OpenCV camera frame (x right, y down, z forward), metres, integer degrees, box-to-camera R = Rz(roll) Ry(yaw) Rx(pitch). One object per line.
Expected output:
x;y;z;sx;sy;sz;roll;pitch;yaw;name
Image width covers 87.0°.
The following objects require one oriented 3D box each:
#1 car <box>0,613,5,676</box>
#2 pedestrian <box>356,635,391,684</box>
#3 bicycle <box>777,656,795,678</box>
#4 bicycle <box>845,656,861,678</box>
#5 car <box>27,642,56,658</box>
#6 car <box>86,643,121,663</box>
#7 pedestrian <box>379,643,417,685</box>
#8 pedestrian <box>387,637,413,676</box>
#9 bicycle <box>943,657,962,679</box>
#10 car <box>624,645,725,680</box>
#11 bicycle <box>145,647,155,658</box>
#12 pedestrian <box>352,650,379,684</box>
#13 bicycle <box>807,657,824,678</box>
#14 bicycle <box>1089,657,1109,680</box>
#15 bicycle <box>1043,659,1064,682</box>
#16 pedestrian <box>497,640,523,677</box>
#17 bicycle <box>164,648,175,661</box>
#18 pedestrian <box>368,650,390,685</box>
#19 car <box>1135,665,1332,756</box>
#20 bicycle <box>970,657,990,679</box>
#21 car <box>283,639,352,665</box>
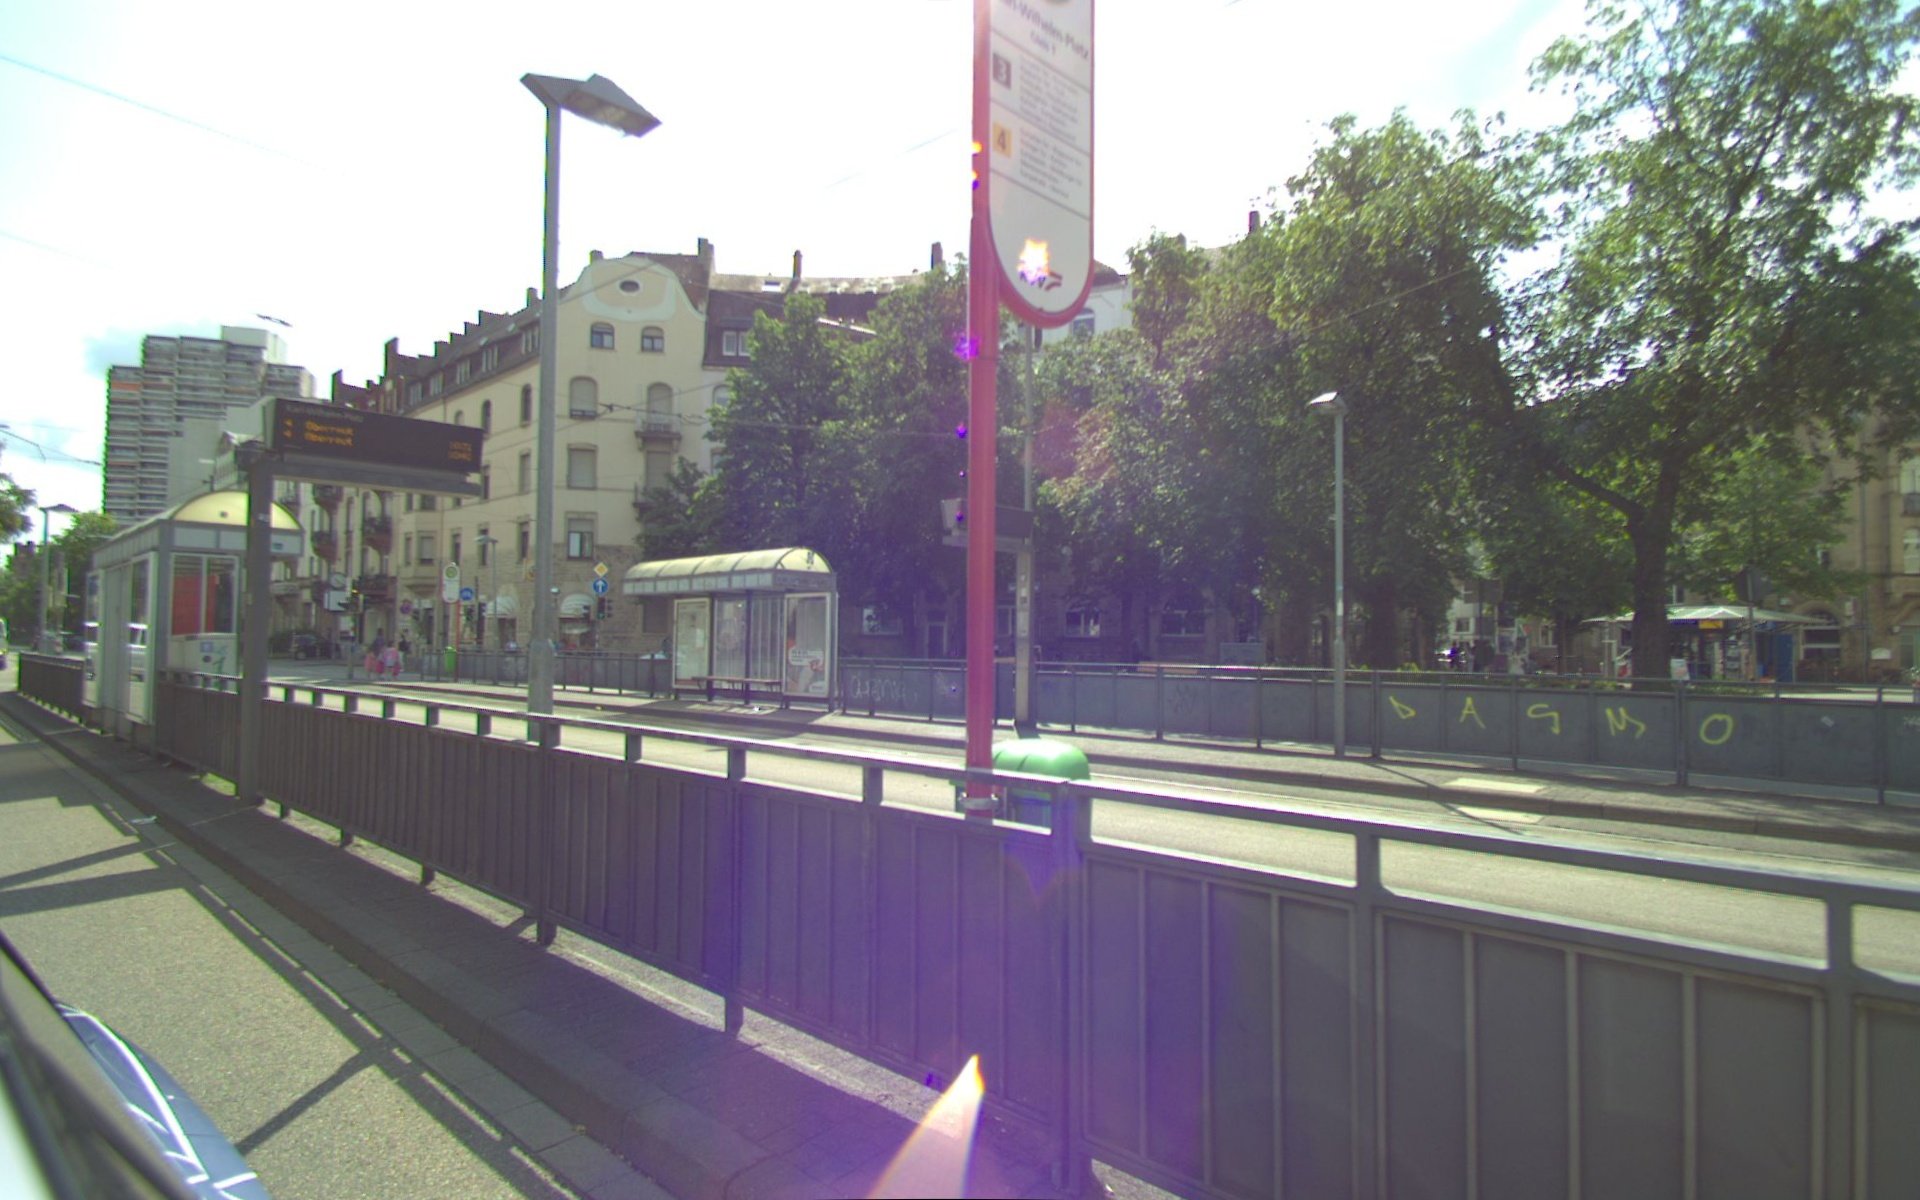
-42.160;1.890;43.005;2.137;2.607;5.667;3;-4;-44;car
-19.197;1.928;33.116;0.798;1.577;0.721;-2;-4;39;pedestrian
-7.886;3.031;45.979;0.504;0.889;2.031;0;-1;-1;bicycle
-4.860;3.023;45.927;0.539;0.889;2.031;0;-1;-1;bicycle
-83.481;4.553;91.990;3.435;1.398;1.607;-2;-5;42;car
-74.595;4.592;88.145;4.331;1.724;1.772;-2;-4;43;car
-18.268;2.086;32.891;0.716;1.314;0.817;-2;-6;39;pedestrian
-25.944;2.607;46.878;0.874;1.717;0.748;-2;0;43;pedestrian
-0.313;3.027;45.339;0.540;0.905;2.025;0;-1;9;bicycle
-12.111;2.644;43.113;3.816;1.431;1.722;0;-3;-3;car
-68.094;4.418;85.058;0.579;0.803;1.875;0;-1;-42;bicycle
-19.648;2.210;33.453;0.443;1.122;0.635;-2;-4;39;pedestrian
-6.553;3.059;45.997;0.504;0.889;2.031;0;-1;-1;bicycle
5.918;2.901;43.034;0.567;0.905;2.021;0;-2;15;bicycle
4.090;3.051;44.000;0.567;0.905;2.021;0;-2;15;bicycle
-19.655;2.549;44.201;0.964;1.553;0.686;-2;0;44;pedestrian
-63.359;4.362;81.104;0.578;0.993;1.875;3;-3;-42;bicycle
-18.748;2.170;32.672;0.423;1.117;0.433;-2;-6;39;pedestrian
6.077;2.396;22.796;4.001;1.790;1.661;-2;-4;44;car
0.890;3.010;44.994;0.566;0.905;2.024;0;-1;10;bicycle
-40.596;3.287;63.988;1.707;1.498;3.405;-3;-2;44;car
